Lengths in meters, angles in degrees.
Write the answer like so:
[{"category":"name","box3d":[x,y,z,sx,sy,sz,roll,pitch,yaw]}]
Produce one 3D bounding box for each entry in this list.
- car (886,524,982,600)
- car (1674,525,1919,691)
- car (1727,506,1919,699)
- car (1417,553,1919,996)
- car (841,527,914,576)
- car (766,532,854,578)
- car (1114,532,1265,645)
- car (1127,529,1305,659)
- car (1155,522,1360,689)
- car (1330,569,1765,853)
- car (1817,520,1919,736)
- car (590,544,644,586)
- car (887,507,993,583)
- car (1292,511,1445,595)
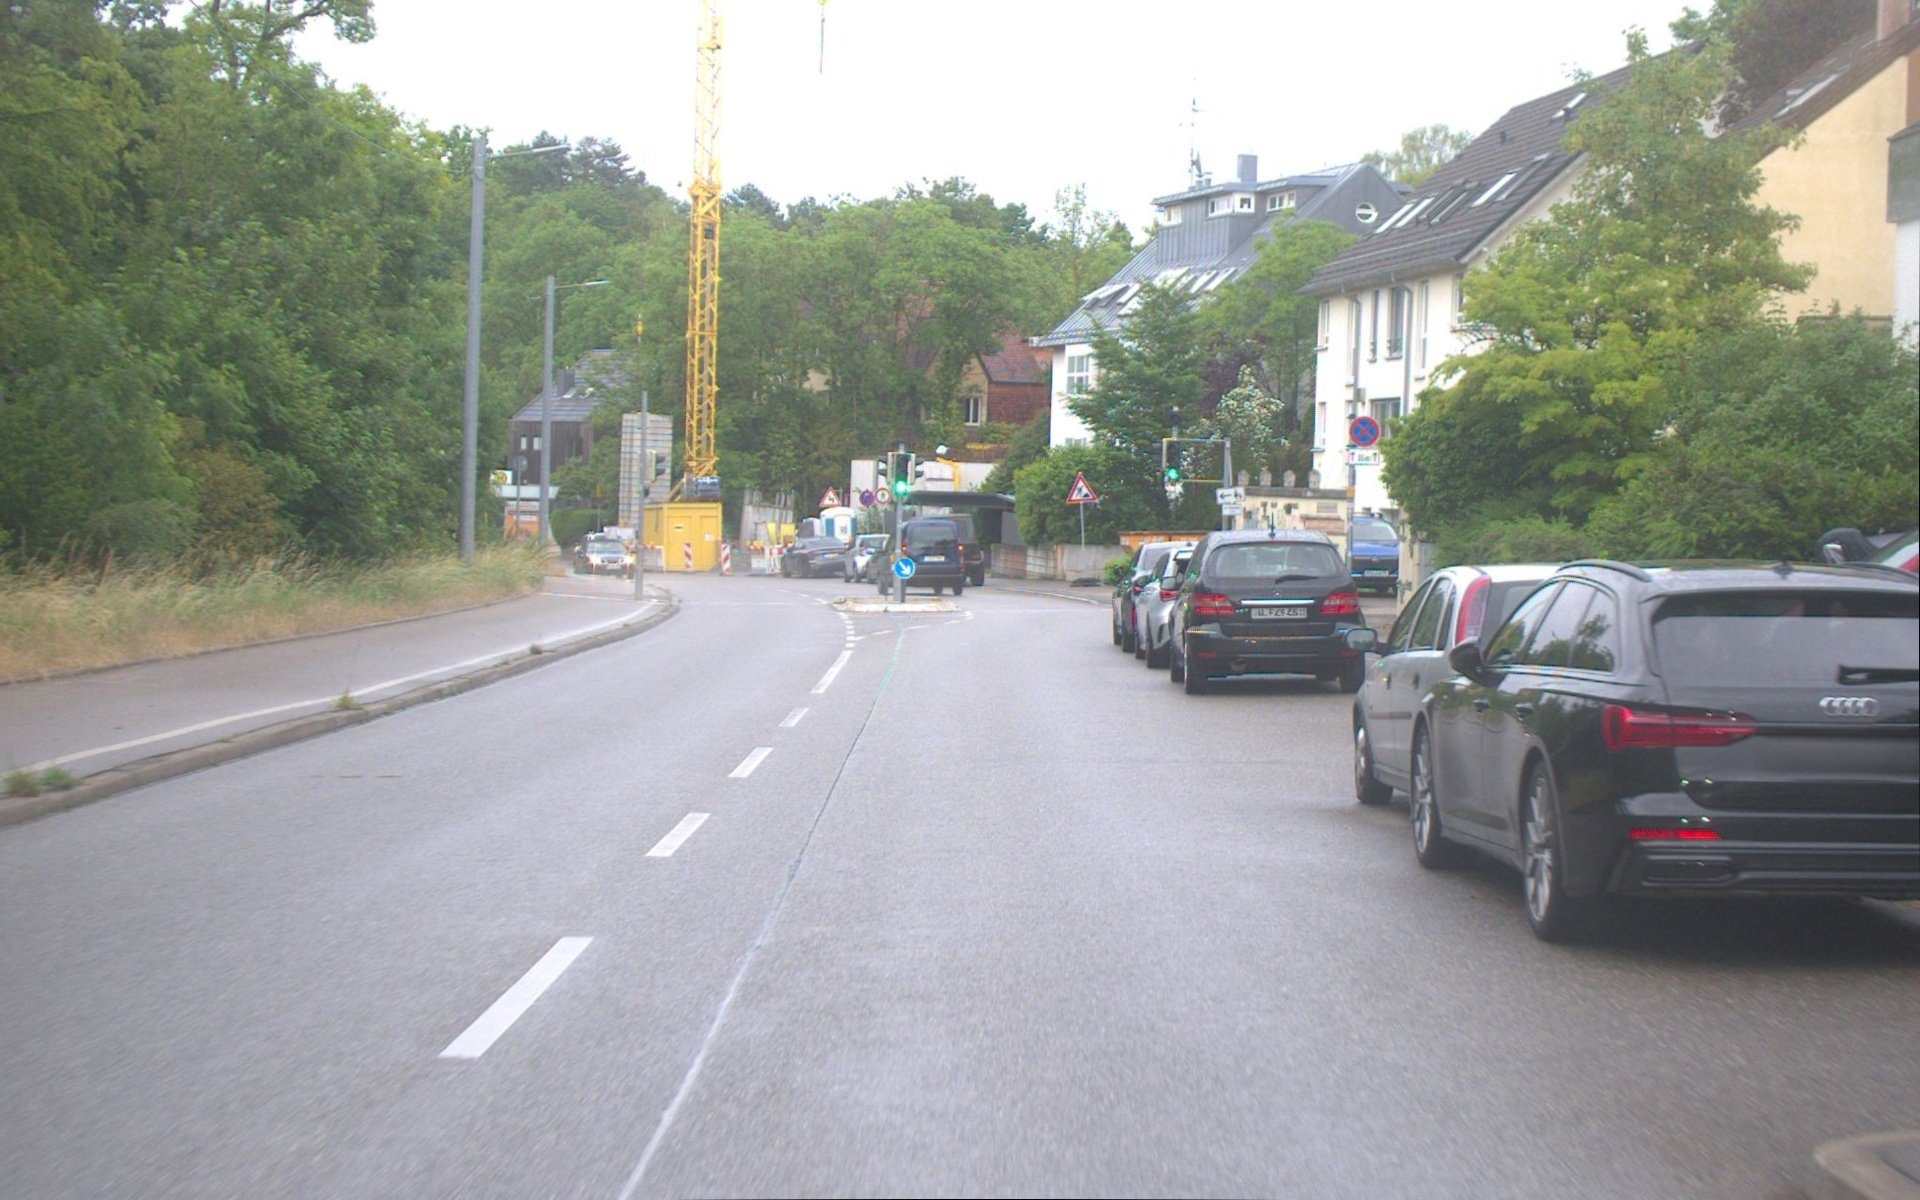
[{"category":"car","box3d":[-0.670,-0.938,84.941,1.931,1.745,4.001,3,0,-5]},{"category":"car","box3d":[8.791,0.072,31.158,4.245,1.455,1.882,0,0,0]},{"category":"car","box3d":[8.549,-0.025,29.090,3.658,1.561,1.882,-1,1,0]},{"category":"car","box3d":[3.065,0.601,14.364,1.830,1.542,4.629,0,0,2]},{"category":"car","box3d":[-2.555,-1.494,105.843,1.672,1.452,3.387,-1,1,-11]},{"category":"car","box3d":[-5.229,-1.571,119.398,1.931,1.417,4.839,2,1,-16]},{"category":"car","box3d":[3.044,-0.172,46.431,1.751,1.438,4.600,0,1,0]},{"category":"car","box3d":[3.045,-0.075,41.660,1.793,1.481,4.495,0,0,0]},{"category":"car","box3d":[2.972,-0.001,35.115,1.730,1.562,4.522,0,2,0]},{"category":"car","box3d":[3.117,0.537,19.017,1.813,1.393,4.102,0,0,2]},{"category":"car","box3d":[8.593,0.113,26.032,3.657,1.531,1.828,-3,1,-2]},{"category":"car","box3d":[-12.256,-1.258,122.981,1.743,1.455,4.414,0,1,-3]},{"category":"car","box3d":[-0.604,-1.551,96.381,1.993,2.007,4.958,-2,1,-11]},{"category":"car","box3d":[8.398,-0.966,71.034,1.931,1.590,4.343,3,0,-9]}]
